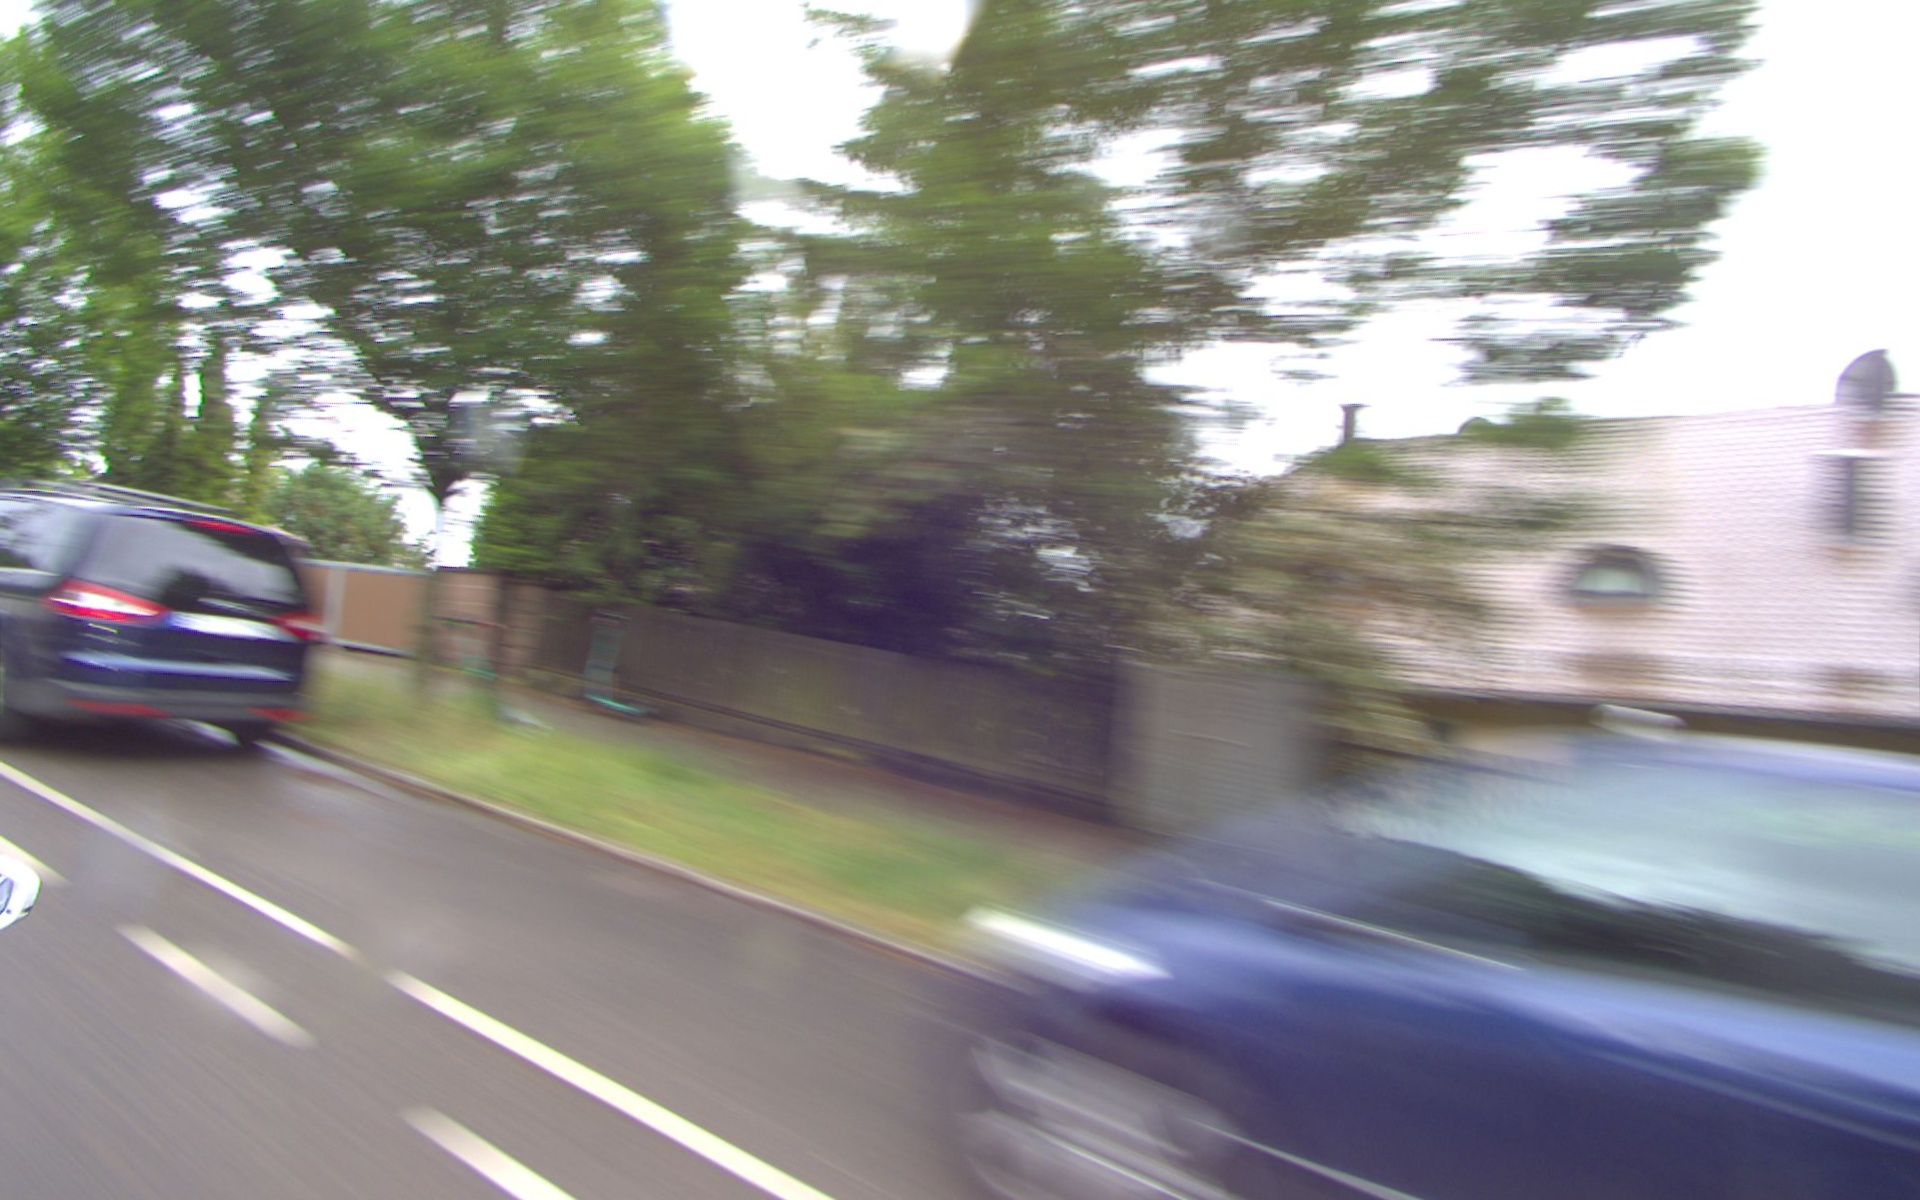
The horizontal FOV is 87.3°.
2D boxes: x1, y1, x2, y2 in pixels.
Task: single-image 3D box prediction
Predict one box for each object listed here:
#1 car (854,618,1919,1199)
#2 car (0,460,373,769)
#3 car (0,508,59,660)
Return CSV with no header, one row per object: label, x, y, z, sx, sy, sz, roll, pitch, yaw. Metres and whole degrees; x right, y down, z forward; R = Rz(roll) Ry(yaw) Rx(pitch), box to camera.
car,1.859,1.132,2.554,3.859,1.586,1.698,6,-5,33
car,-6.941,-0.013,7.827,4.598,1.802,1.787,7,-4,29
car,-11.634,-0.369,11.042,2.905,1.575,1.602,6,-4,30
